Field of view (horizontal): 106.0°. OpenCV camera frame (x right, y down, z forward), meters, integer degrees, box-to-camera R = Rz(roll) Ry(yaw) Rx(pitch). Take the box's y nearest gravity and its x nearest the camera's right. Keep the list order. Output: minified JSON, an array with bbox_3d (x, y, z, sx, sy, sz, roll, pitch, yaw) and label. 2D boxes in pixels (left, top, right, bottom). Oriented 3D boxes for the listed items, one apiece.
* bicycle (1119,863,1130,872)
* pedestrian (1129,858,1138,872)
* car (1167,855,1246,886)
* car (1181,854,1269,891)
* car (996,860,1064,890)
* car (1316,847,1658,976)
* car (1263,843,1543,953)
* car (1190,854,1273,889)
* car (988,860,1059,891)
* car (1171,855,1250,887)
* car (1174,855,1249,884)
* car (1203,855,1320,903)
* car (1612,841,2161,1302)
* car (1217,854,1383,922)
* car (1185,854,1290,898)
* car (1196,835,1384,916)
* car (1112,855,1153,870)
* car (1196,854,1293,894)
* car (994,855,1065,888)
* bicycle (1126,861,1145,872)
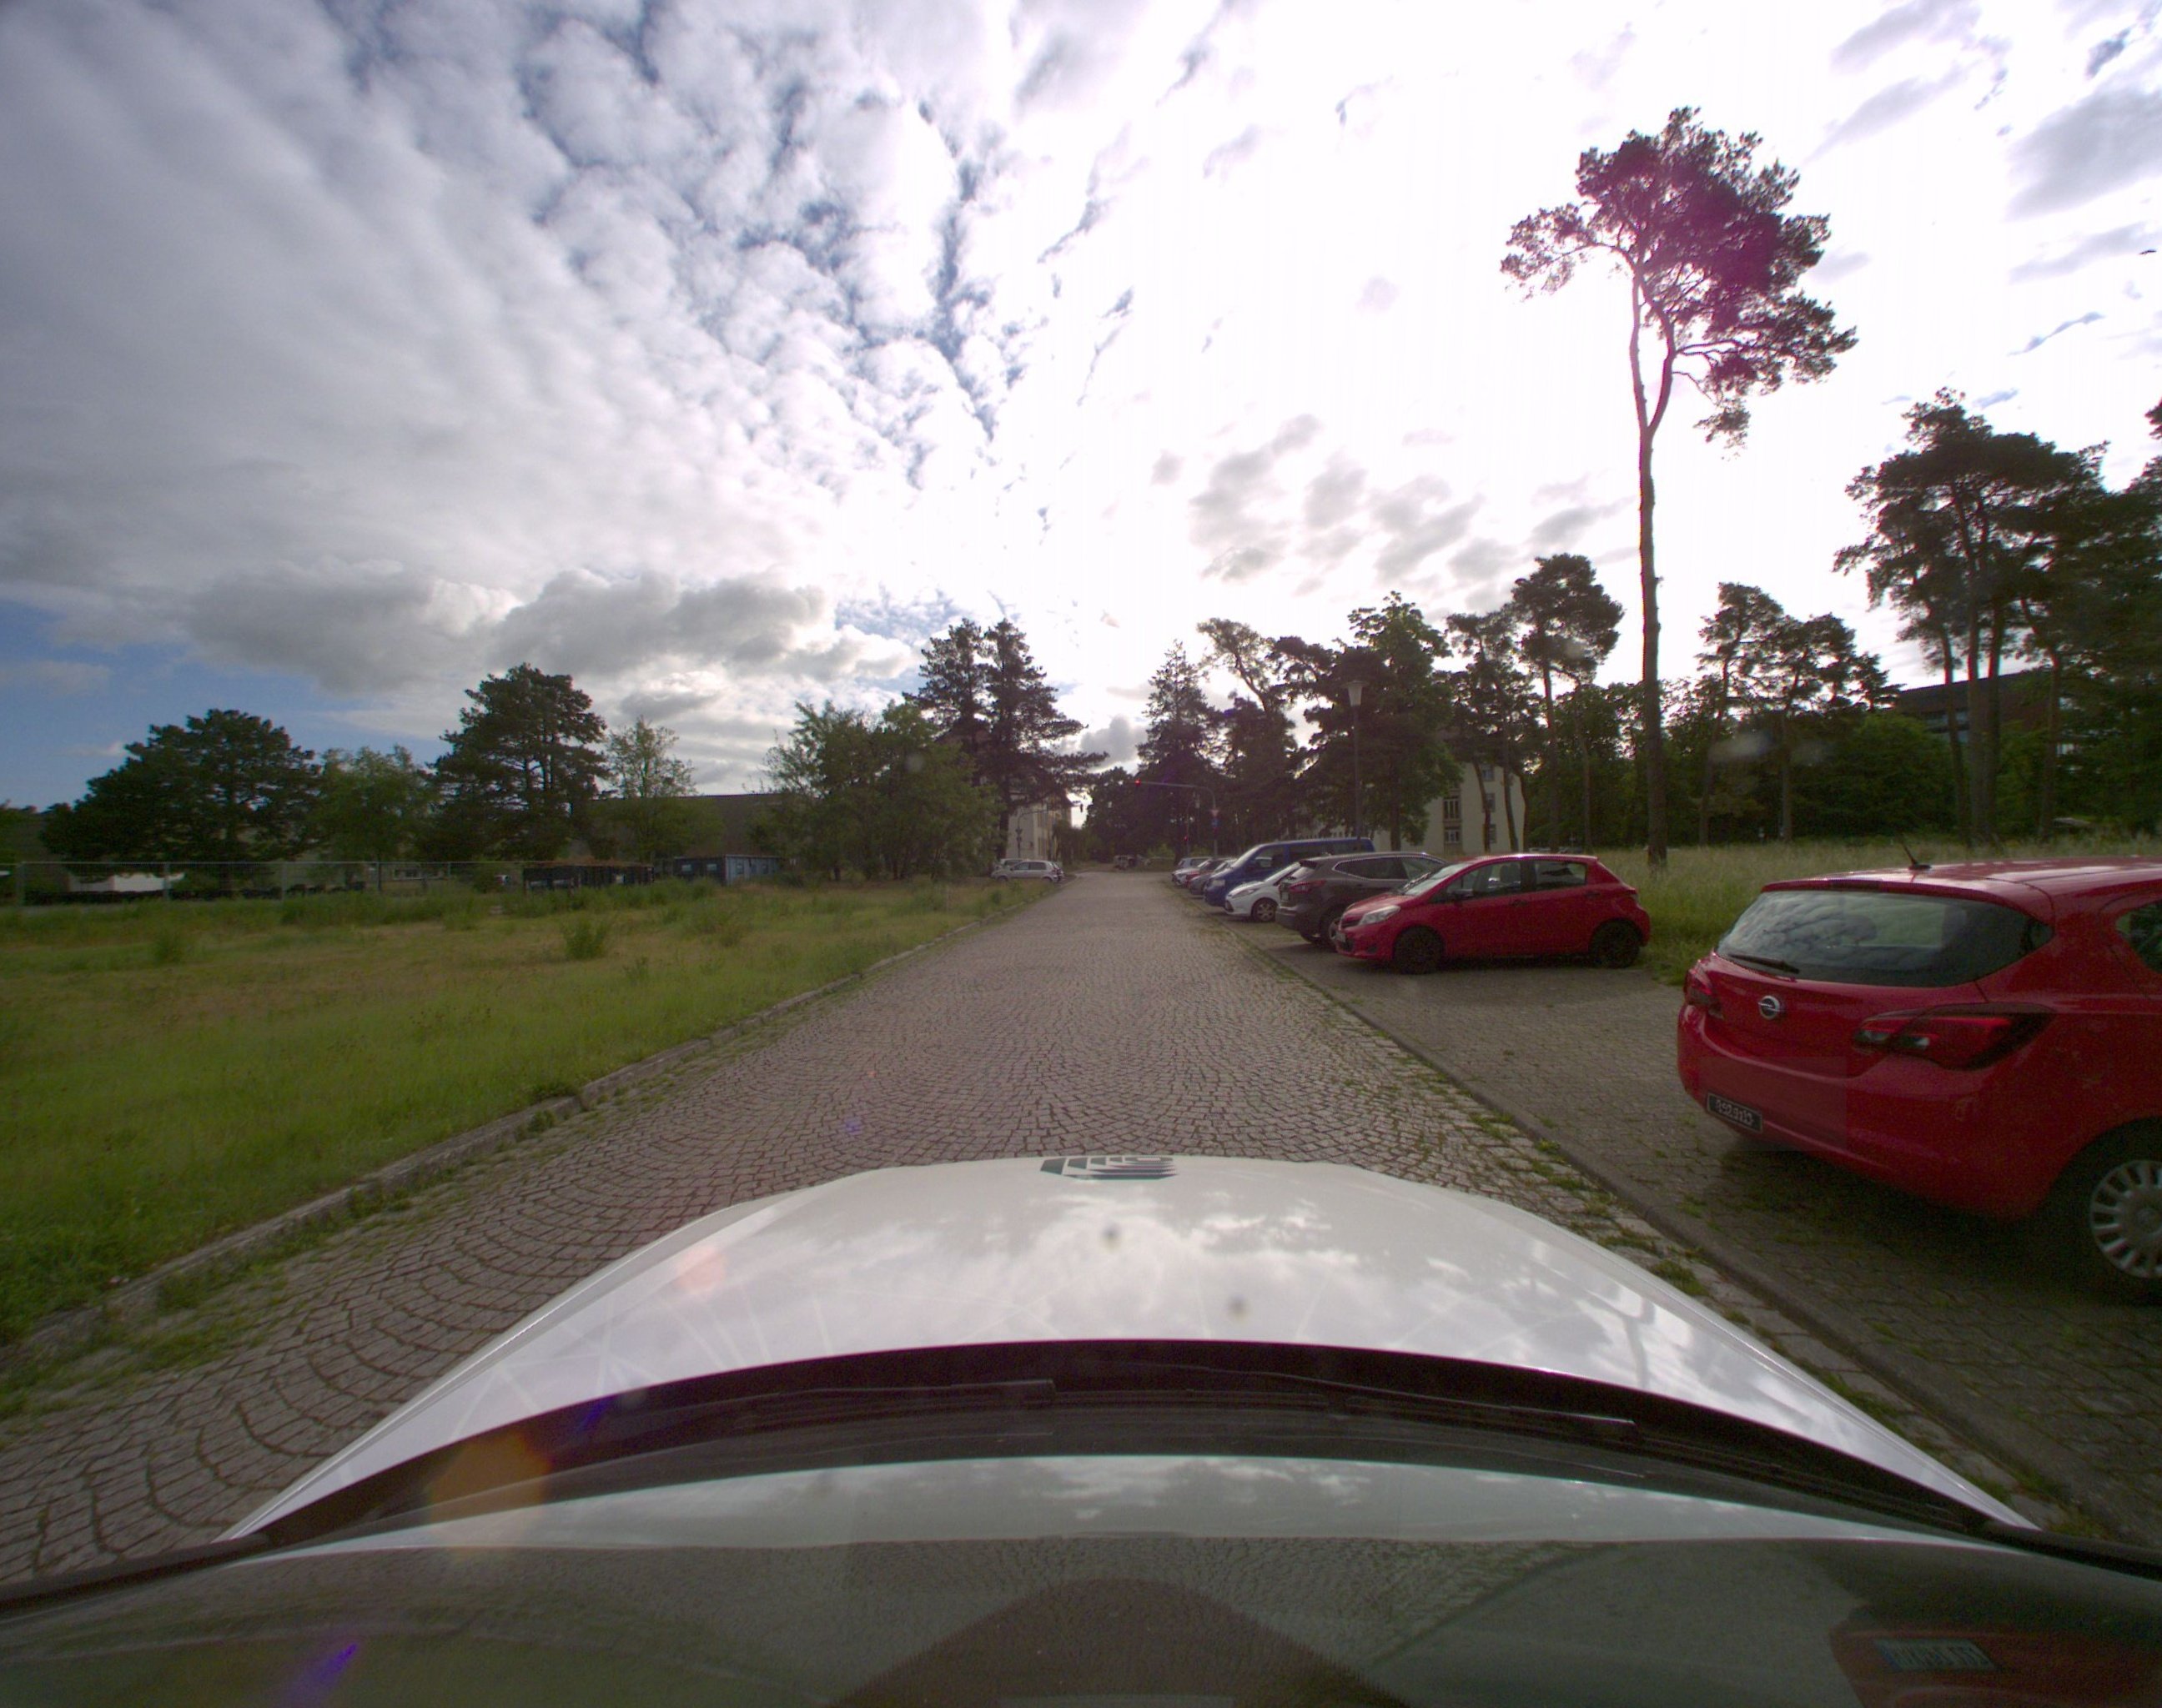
[{"bbox_3d":[4.880,1.537,91.603,0.623,0.945,1.649,0,-1,-25],"label":"bicycle"},{"bbox_3d":[6.211,1.248,95.969,1.031,1.614,0.757,-1,-1,-2],"label":"pedestrian"},{"bbox_3d":[6.738,0.888,43.941,3.957,1.421,1.619,-3,-1,-2],"label":"car"},{"bbox_3d":[6.410,0.829,36.550,3.659,1.449,1.524,-3,-1,1],"label":"car"},{"bbox_3d":[-3.016,1.248,48.358,3.807,1.572,1.565,-3,-1,2],"label":"car"},{"bbox_3d":[5.378,0.747,11.189,3.776,1.460,1.752,-3,-1,2],"label":"car"},{"bbox_3d":[5.317,0.710,13.838,4.015,1.552,1.751,-3,-1,0],"label":"car"},{"bbox_3d":[7.119,0.833,38.808,3.659,1.449,1.524,-3,-1,1],"label":"car"},{"bbox_3d":[-3.189,1.196,45.945,3.810,1.572,1.564,-3,-1,-1],"label":"car"},{"bbox_3d":[6.500,0.866,41.091,3.662,1.421,1.523,-3,-1,-2],"label":"car"},{"bbox_3d":[7.448,0.871,46.565,3.957,1.421,1.619,-3,-1,-2],"label":"car"},{"bbox_3d":[6.160,0.840,28.073,3.659,1.449,1.524,-3,-1,1],"label":"car"},{"bbox_3d":[4.865,0.700,3.600,3.811,1.460,1.780,-3,-1,2],"label":"car"},{"bbox_3d":[5.359,0.826,20.223,3.660,1.449,1.614,-3,-1,0],"label":"car"},{"bbox_3d":[5.886,0.836,30.868,3.659,1.449,1.524,-3,-1,1],"label":"car"},{"bbox_3d":[5.735,0.583,22.806,4.738,1.954,1.931,-3,-1,1],"label":"car"},{"bbox_3d":[7.115,1.156,113.528,5.439,2.014,2.263,-1,-1,-6],"label":"car"},{"bbox_3d":[6.743,0.821,33.825,3.659,1.449,1.524,-3,-1,1],"label":"car"},{"bbox_3d":[-3.209,1.116,51.361,4.246,1.840,1.744,-3,-1,2],"label":"car"},{"bbox_3d":[6.395,1.448,95.615,2.131,1.215,0.621,-1,-1,-2],"label":"bicycle"}]
